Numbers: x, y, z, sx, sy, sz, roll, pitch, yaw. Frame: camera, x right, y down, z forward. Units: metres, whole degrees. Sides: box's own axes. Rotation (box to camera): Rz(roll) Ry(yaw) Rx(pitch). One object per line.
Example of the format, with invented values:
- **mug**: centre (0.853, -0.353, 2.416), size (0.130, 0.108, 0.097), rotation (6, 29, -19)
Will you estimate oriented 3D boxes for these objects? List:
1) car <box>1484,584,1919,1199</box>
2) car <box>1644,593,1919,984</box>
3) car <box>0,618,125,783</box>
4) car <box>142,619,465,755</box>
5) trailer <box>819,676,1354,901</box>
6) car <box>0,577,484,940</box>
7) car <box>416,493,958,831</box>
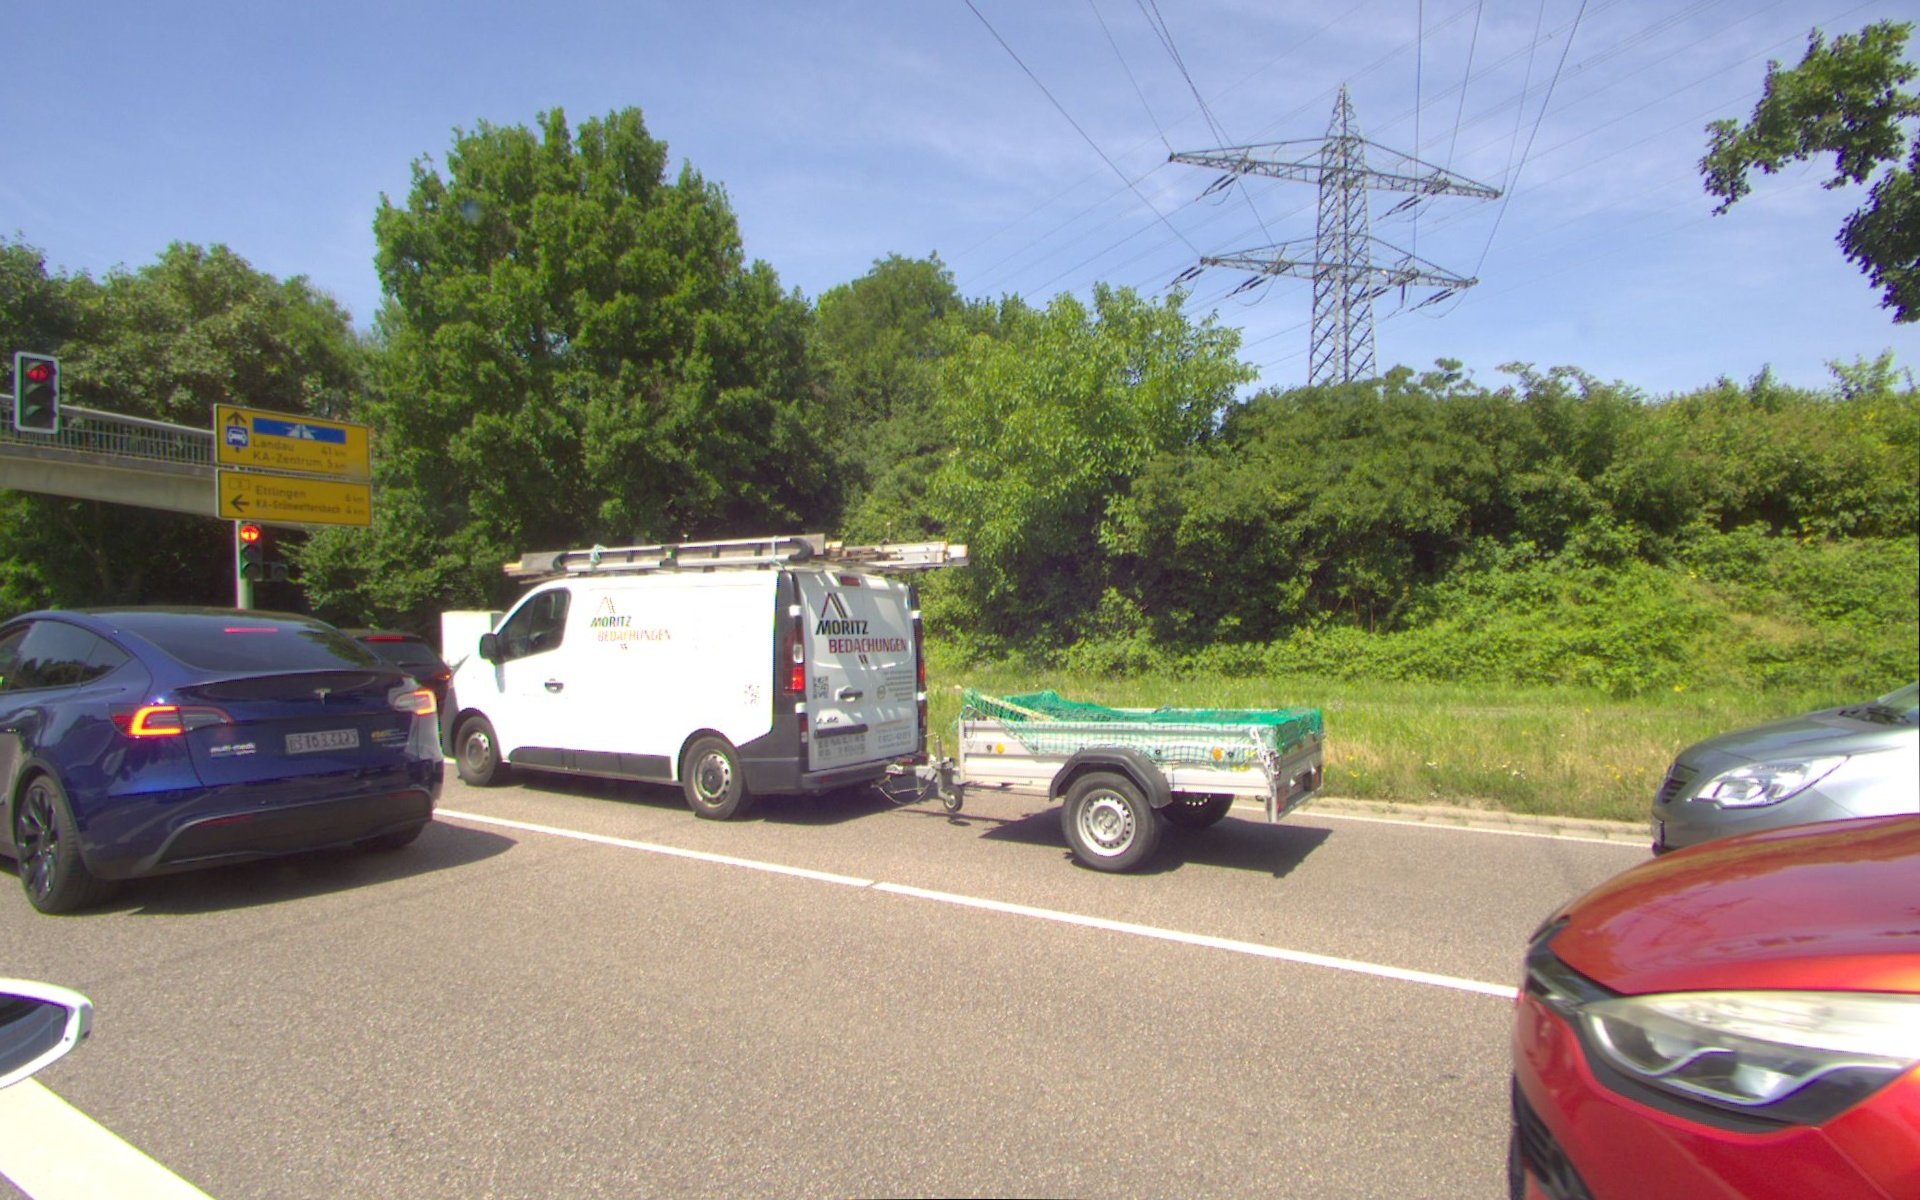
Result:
- **car**: centre (3.086, 0.725, 1.473), size (4.006, 1.480, 1.740), rotation (-1, -2, 32)
- **car**: centre (5.436, 0.775, 4.243), size (4.105, 1.616, 1.761), rotation (-1, 0, 32)
- **car**: centre (-10.365, 0.933, 10.096), size (3.882, 1.497, 1.897), rotation (-1, -2, 32)
- **car**: centre (-8.594, 1.012, 13.026), size (4.318, 1.497, 1.897), rotation (-1, -2, 32)
- **trailer**: centre (0.833, 1.121, 6.912), size (3.276, 1.019, 1.703), rotation (-1, -1, 32)
- **car**: centre (-5.337, 0.776, 6.605), size (4.455, 1.665, 1.897), rotation (-1, -1, 32)
- **car**: centre (-2.643, 0.493, 9.208), size (5.002, 2.379, 1.929), rotation (-1, -1, 32)
